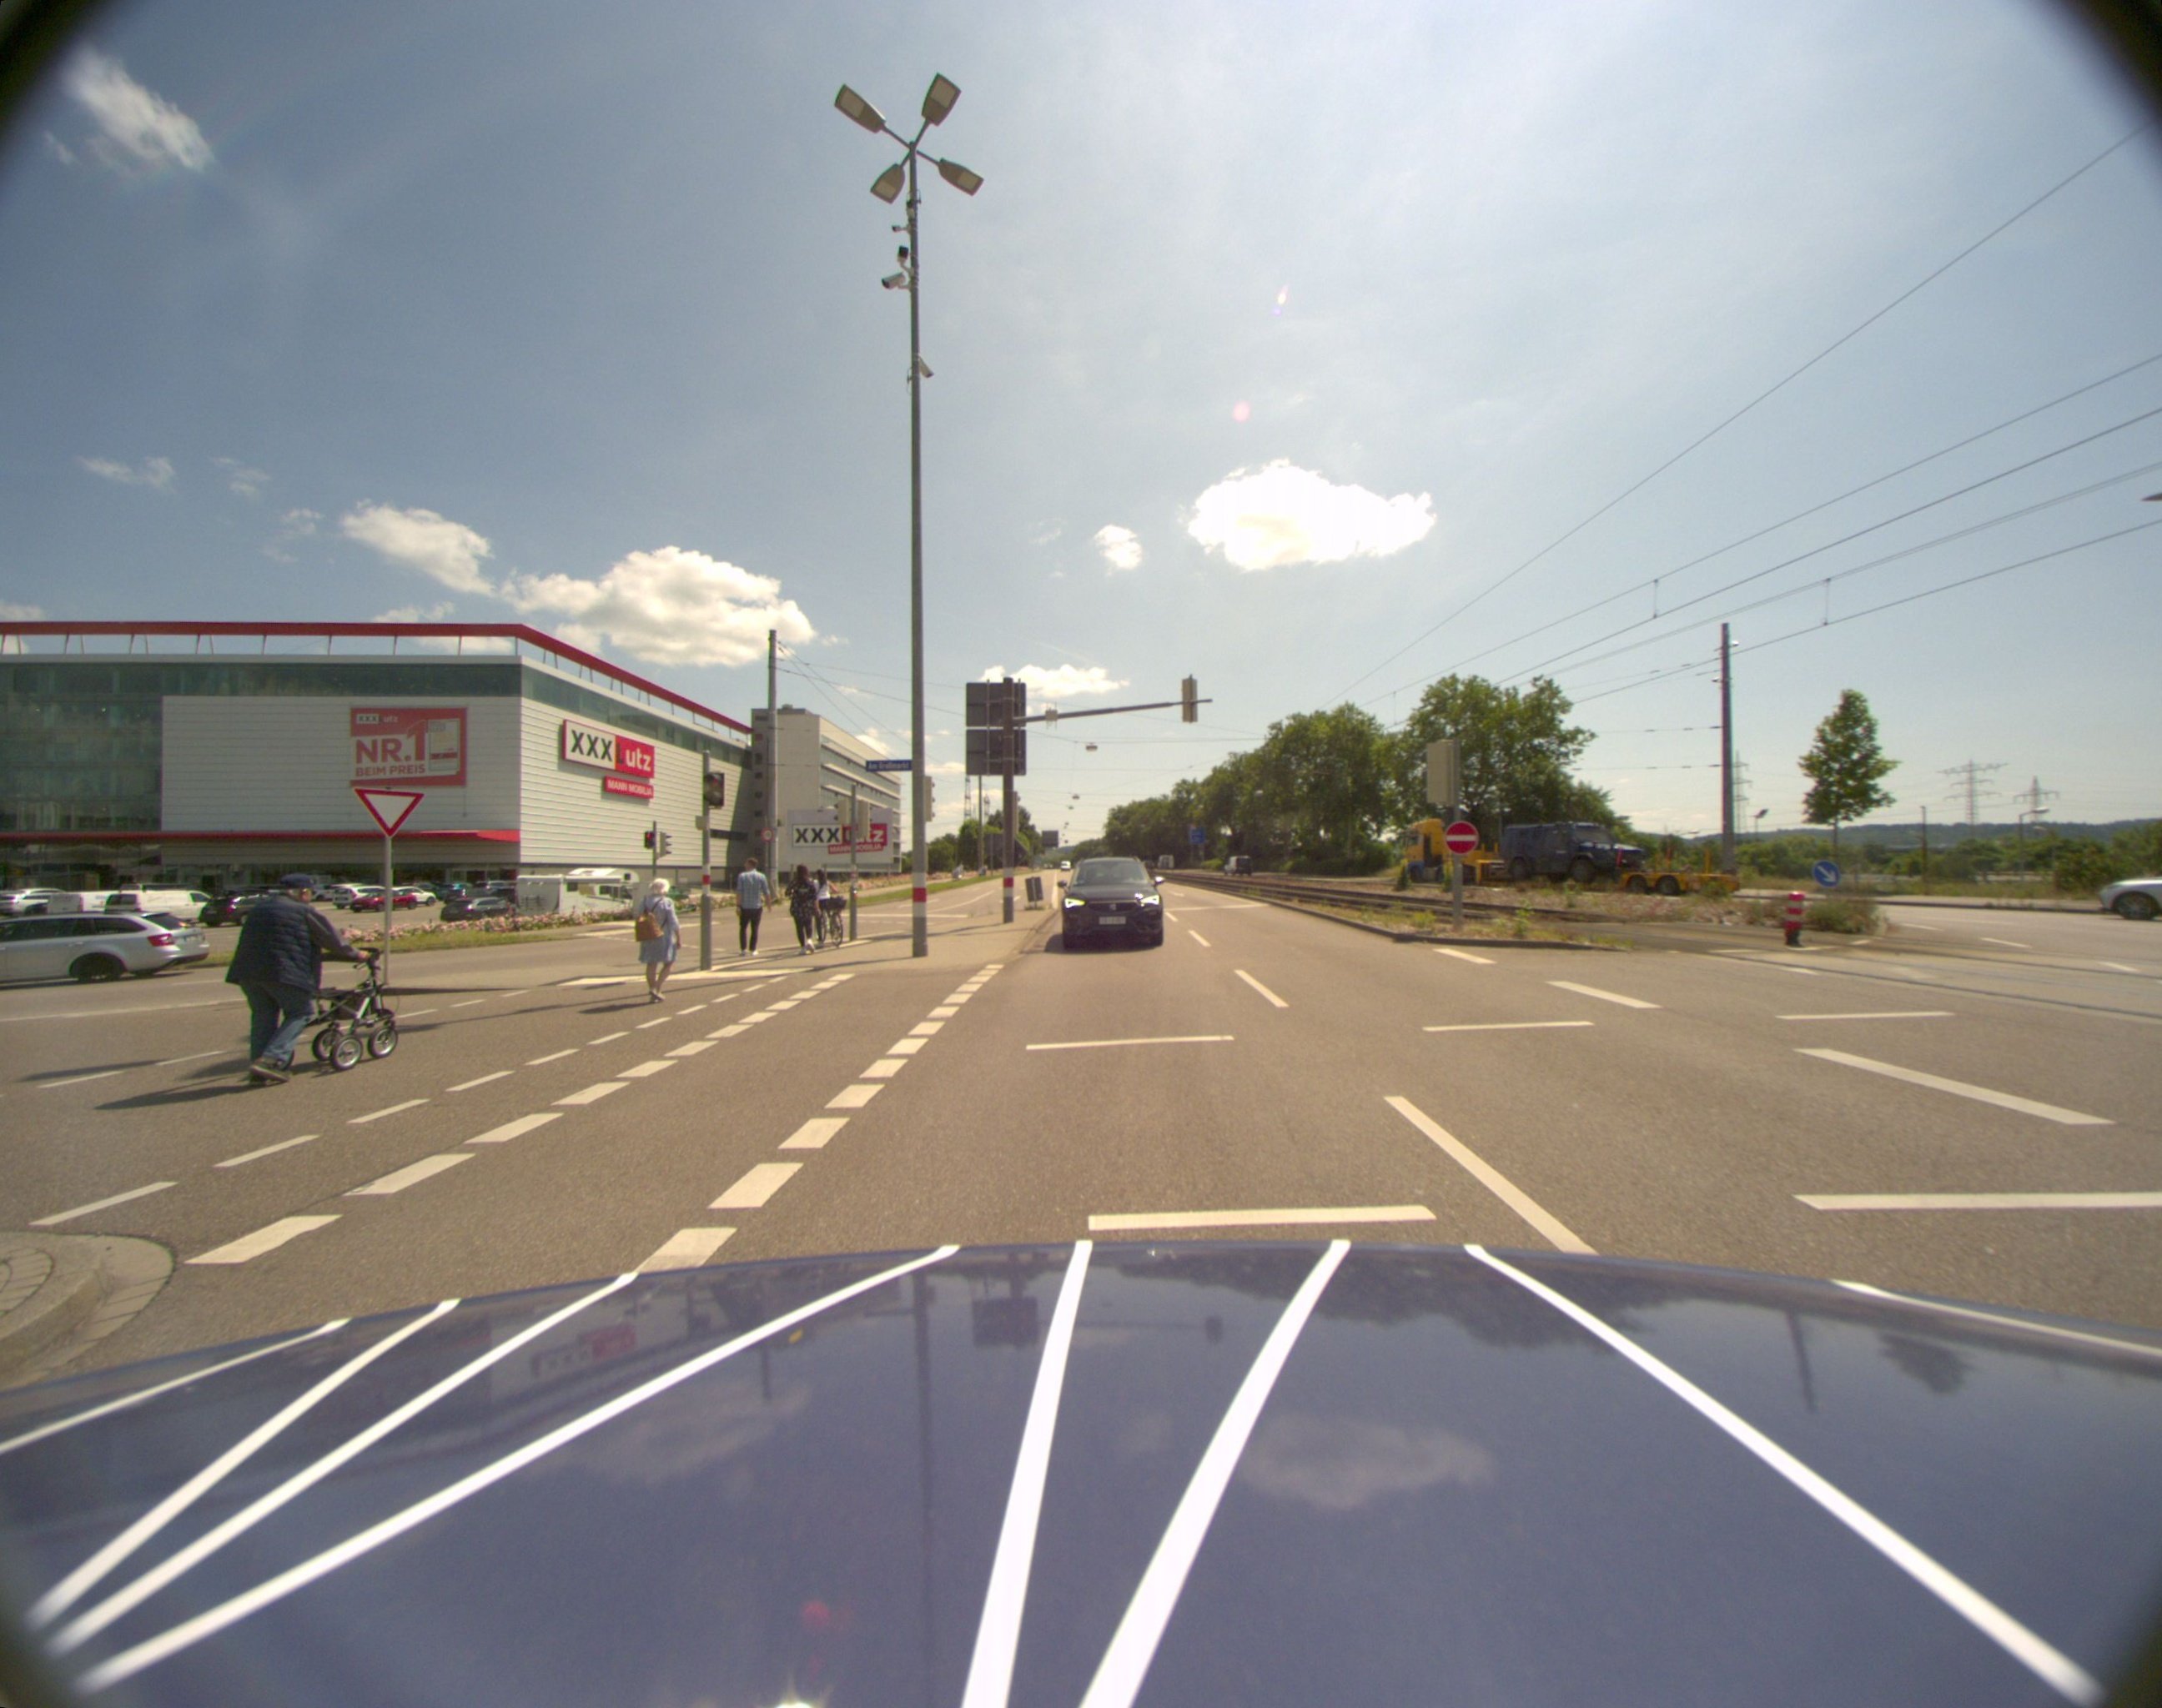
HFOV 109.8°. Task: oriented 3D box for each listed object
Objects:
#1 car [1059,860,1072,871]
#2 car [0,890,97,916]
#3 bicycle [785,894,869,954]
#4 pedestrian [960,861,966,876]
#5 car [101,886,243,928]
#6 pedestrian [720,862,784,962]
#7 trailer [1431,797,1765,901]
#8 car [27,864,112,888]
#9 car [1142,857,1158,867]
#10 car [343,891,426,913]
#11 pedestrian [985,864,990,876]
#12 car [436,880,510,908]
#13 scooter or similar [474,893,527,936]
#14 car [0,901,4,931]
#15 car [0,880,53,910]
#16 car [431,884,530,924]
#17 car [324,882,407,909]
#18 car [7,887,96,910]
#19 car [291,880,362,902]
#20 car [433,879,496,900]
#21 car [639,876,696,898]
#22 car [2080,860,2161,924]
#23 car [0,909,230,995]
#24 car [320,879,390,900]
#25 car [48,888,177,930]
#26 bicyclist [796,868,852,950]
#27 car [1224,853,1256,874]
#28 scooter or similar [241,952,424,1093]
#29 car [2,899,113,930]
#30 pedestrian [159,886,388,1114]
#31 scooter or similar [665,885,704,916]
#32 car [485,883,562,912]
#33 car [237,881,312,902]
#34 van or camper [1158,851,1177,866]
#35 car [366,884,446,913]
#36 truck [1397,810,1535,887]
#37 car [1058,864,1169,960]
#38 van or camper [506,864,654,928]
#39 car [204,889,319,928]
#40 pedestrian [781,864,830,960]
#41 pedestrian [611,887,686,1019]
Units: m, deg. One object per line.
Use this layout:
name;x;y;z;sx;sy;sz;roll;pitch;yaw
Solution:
car;-2.705;2.057;132.741;1.819;1.829;4.001;-1;-1;3
car;-71.428;3.353;52.471;1.693;1.518;4.000;-2;0;-1
bicycle;-5.393;1.447;16.078;1.874;1.155;0.833;-3;-2;42
pedestrian;-14.253;1.784;91.867;0.518;1.782;0.634;-1;0;-2
car;-51.303;2.933;43.066;1.998;2.001;4.966;-2;-1;0
pedestrian;-6.353;1.104;14.698;0.805;1.854;0.798;-2;0;2
trailer;22.909;-0.042;36.040;3.125;3.847;15.471;-1;-1;-10
car;-91.223;1.951;68.627;1.850;2.002;4.286;-2;0;1
car;11.895;1.436;130.990;2.000;1.627;4.263;1;-1;-6
car;-48.910;3.344;53.484;1.859;1.403;4.257;-1;-1;1
pedestrian;-13.317;2.250;108.364;0.599;1.645;0.634;-1;0;-2
car;-46.771;3.061;58.552;1.998;1.883;4.520;-2;0;0
scooter or similar;-18.674;1.942;24.475;0.479;1.283;1.280;-2;0;17
car;-56.692;3.204;37.364;1.854;1.537;3.998;-2;0;-6
car;-74.094;2.830;52.292;1.723;2.002;3.604;-2;0;0
car;-33.995;2.801;43.203;1.998;2.001;4.454;-1;-1;2
car;-54.300;3.113;57.813;1.998;1.724;4.520;-2;0;0
car;-78.536;3.343;58.044;1.693;1.592;3.730;-1;-1;-1
car;-67.973;3.311;68.548;1.999;1.682;4.519;-2;0;-2
car;-55.952;3.188;69.054;1.998;1.682;4.520;-2;0;0
car;-32.042;2.510;59.072;1.999;1.554;4.519;-1;-1;-2
car;26.392;0.875;17.106;2.000;1.454;4.275;-1;-1;-11
car;-20.765;1.984;15.294;4.467;1.390;1.799;-2;0;-31
car;-65.651;3.162;68.800;1.999;1.682;4.519;-2;0;-2
car;-53.761;2.999;42.304;1.998;2.001;4.001;-2;-1;0
bicyclist;-5.465;1.142;16.151;0.797;1.690;0.818;-2;-1;42
car;15.309;0.928;73.486;1.999;1.826;4.435;1;-4;-3
scooter or similar;-6.442;1.425;6.588;0.691;1.025;0.863;-2;0;4
car;-57.032;3.334;42.439;1.693;1.452;3.399;-1;-1;-4
pedestrian;-6.486;1.118;6.169;0.784;1.663;0.947;-2;0;5
scooter or similar;-15.917;1.853;30.542;0.479;1.120;1.280;-2;3;27
car;-39.052;3.033;53.412;1.998;1.707;4.503;-2;0;0
car;-72.654;3.344;68.527;1.999;1.682;4.519;-2;0;-2
van or camper;15.091;0.815;132.944;2.000;2.571;5.841;0;0;-7
car;-51.394;3.362;58.001;1.998;1.883;4.520;-2;0;0
truck;21.671;-0.256;43.390;3.136;4.015;7.469;-1;0;-10
car;0.684;1.012;14.769;1.819;1.582;4.002;-2;-1;4
van or camper;-27.055;2.146;41.598;2.715;2.929;7.614;-2;0;2
car;-46.163;3.032;42.954;1.590;1.900;4.488;-1;-1;1
pedestrian;-5.243;1.072;14.440;0.807;1.749;0.796;-2;0;-21
pedestrian;-5.236;1.163;9.243;0.591;1.467;0.805;-3;0;-19
